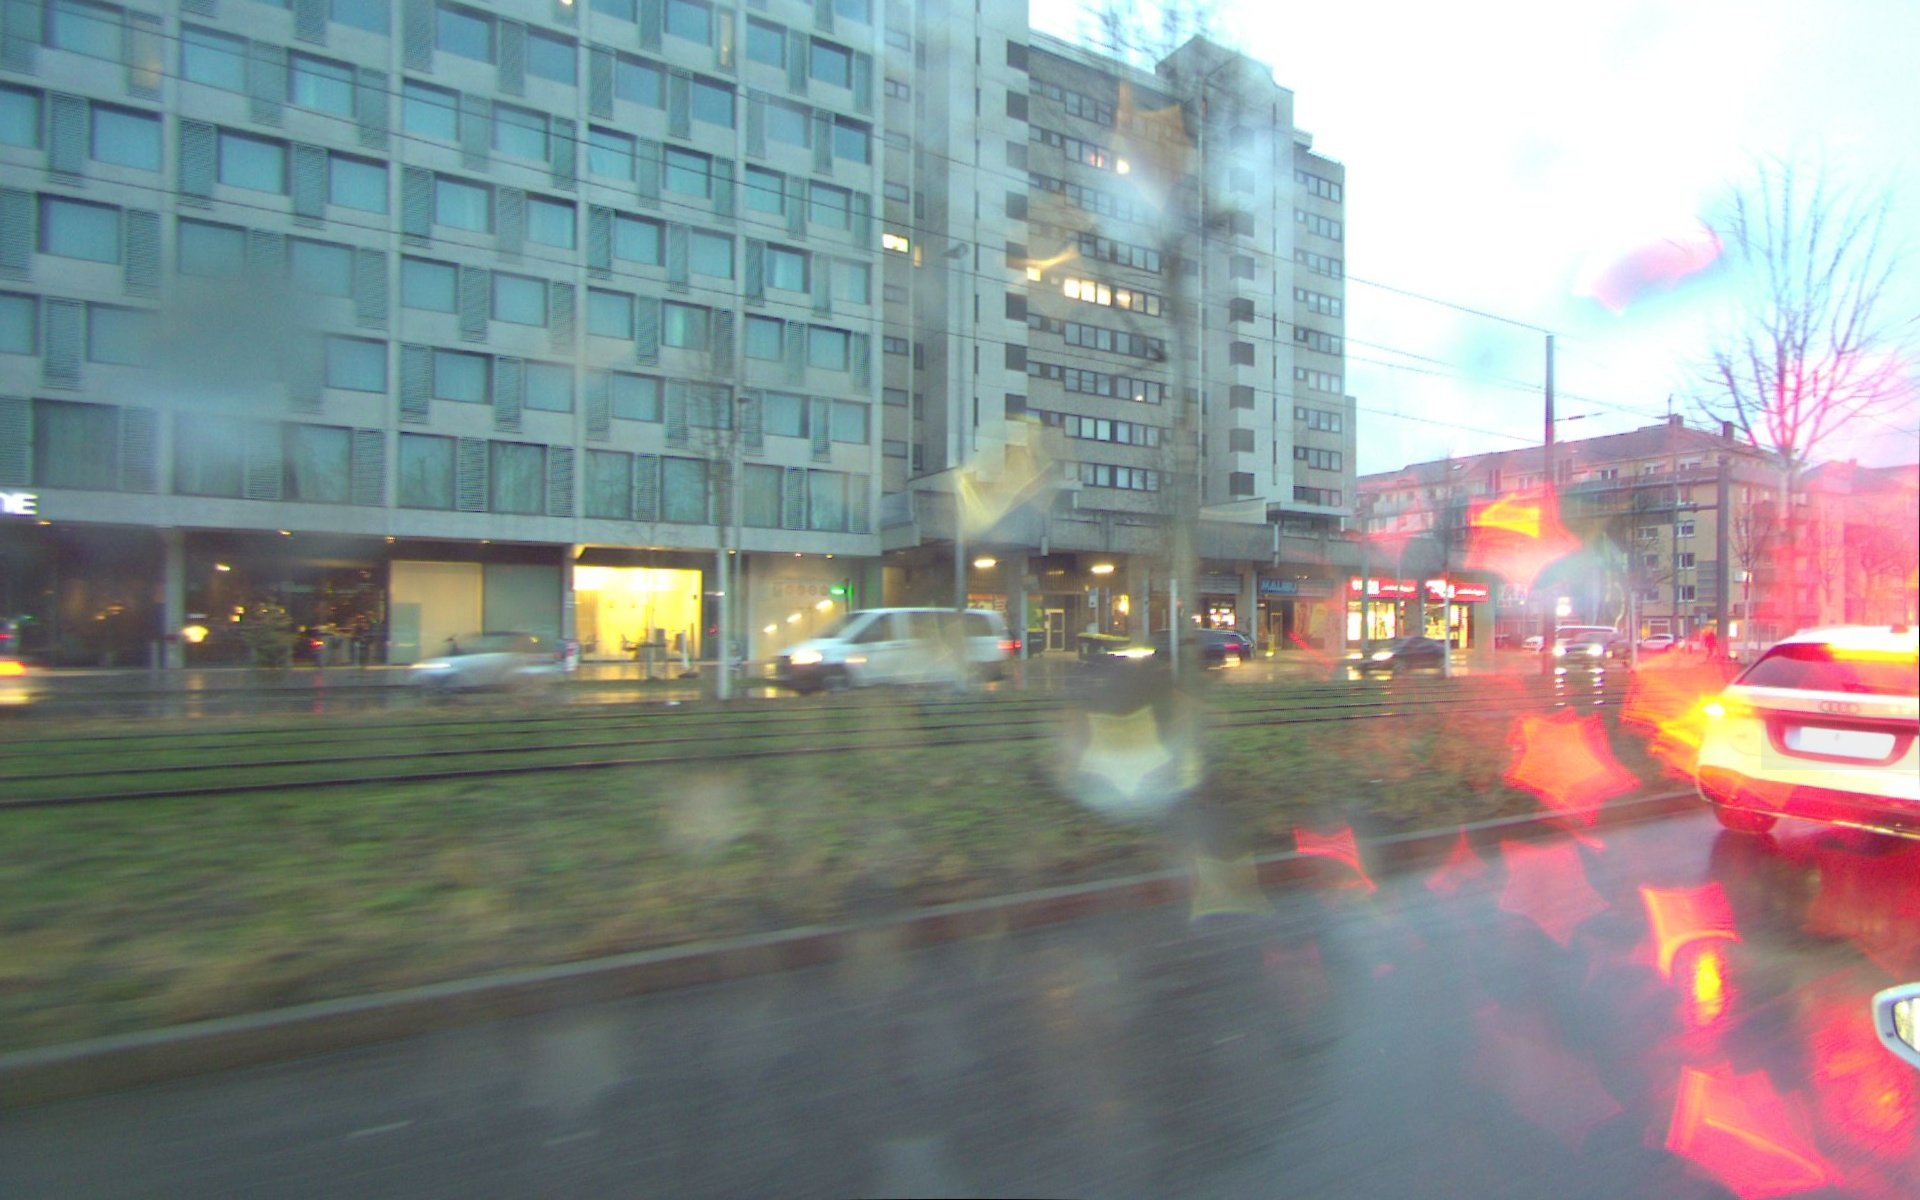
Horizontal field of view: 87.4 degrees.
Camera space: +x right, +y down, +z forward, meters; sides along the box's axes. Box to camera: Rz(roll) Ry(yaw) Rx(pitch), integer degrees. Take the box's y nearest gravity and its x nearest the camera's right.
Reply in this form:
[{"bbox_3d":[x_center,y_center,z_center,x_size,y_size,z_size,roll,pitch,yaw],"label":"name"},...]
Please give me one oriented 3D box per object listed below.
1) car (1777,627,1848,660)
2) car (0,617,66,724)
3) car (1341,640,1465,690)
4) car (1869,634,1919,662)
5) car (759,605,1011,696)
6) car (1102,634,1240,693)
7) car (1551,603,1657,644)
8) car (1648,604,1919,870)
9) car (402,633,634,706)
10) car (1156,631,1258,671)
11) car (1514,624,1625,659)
[{"bbox_3d":[52.251,2.626,61.544,5.109,1.937,1.982,1,-2,-33],"label":"car"},{"bbox_3d":[-14.865,0.949,13.694,3.664,1.450,1.886,1,-2,-31],"label":"car"},{"bbox_3d":[17.101,2.458,38.741,4.858,1.742,1.887,1,-1,-30],"label":"car"},{"bbox_3d":[58.203,2.942,62.067,4.530,1.655,1.886,1,-2,-32],"label":"car"},{"bbox_3d":[-1.527,1.024,21.305,5.059,1.741,1.886,1,-2,-31],"label":"car"},{"bbox_3d":[7.093,2.070,33.679,4.477,1.837,1.887,1,-1,-31],"label":"car"},{"bbox_3d":[28.663,1.048,44.677,4.856,1.742,1.888,1,-1,-29],"label":"car"},{"bbox_3d":[6.967,0.801,6.976,4.560,1.424,1.837,2,0,-30],"label":"car"},{"bbox_3d":[-10.195,1.542,23.280,4.736,1.536,1.887,1,-2,-31],"label":"car"},{"bbox_3d":[10.632,2.159,43.244,3.924,1.405,1.935,2,0,25],"label":"car"},{"bbox_3d":[34.951,2.368,57.717,5.059,1.937,2.001,0,-2,15],"label":"car"}]
